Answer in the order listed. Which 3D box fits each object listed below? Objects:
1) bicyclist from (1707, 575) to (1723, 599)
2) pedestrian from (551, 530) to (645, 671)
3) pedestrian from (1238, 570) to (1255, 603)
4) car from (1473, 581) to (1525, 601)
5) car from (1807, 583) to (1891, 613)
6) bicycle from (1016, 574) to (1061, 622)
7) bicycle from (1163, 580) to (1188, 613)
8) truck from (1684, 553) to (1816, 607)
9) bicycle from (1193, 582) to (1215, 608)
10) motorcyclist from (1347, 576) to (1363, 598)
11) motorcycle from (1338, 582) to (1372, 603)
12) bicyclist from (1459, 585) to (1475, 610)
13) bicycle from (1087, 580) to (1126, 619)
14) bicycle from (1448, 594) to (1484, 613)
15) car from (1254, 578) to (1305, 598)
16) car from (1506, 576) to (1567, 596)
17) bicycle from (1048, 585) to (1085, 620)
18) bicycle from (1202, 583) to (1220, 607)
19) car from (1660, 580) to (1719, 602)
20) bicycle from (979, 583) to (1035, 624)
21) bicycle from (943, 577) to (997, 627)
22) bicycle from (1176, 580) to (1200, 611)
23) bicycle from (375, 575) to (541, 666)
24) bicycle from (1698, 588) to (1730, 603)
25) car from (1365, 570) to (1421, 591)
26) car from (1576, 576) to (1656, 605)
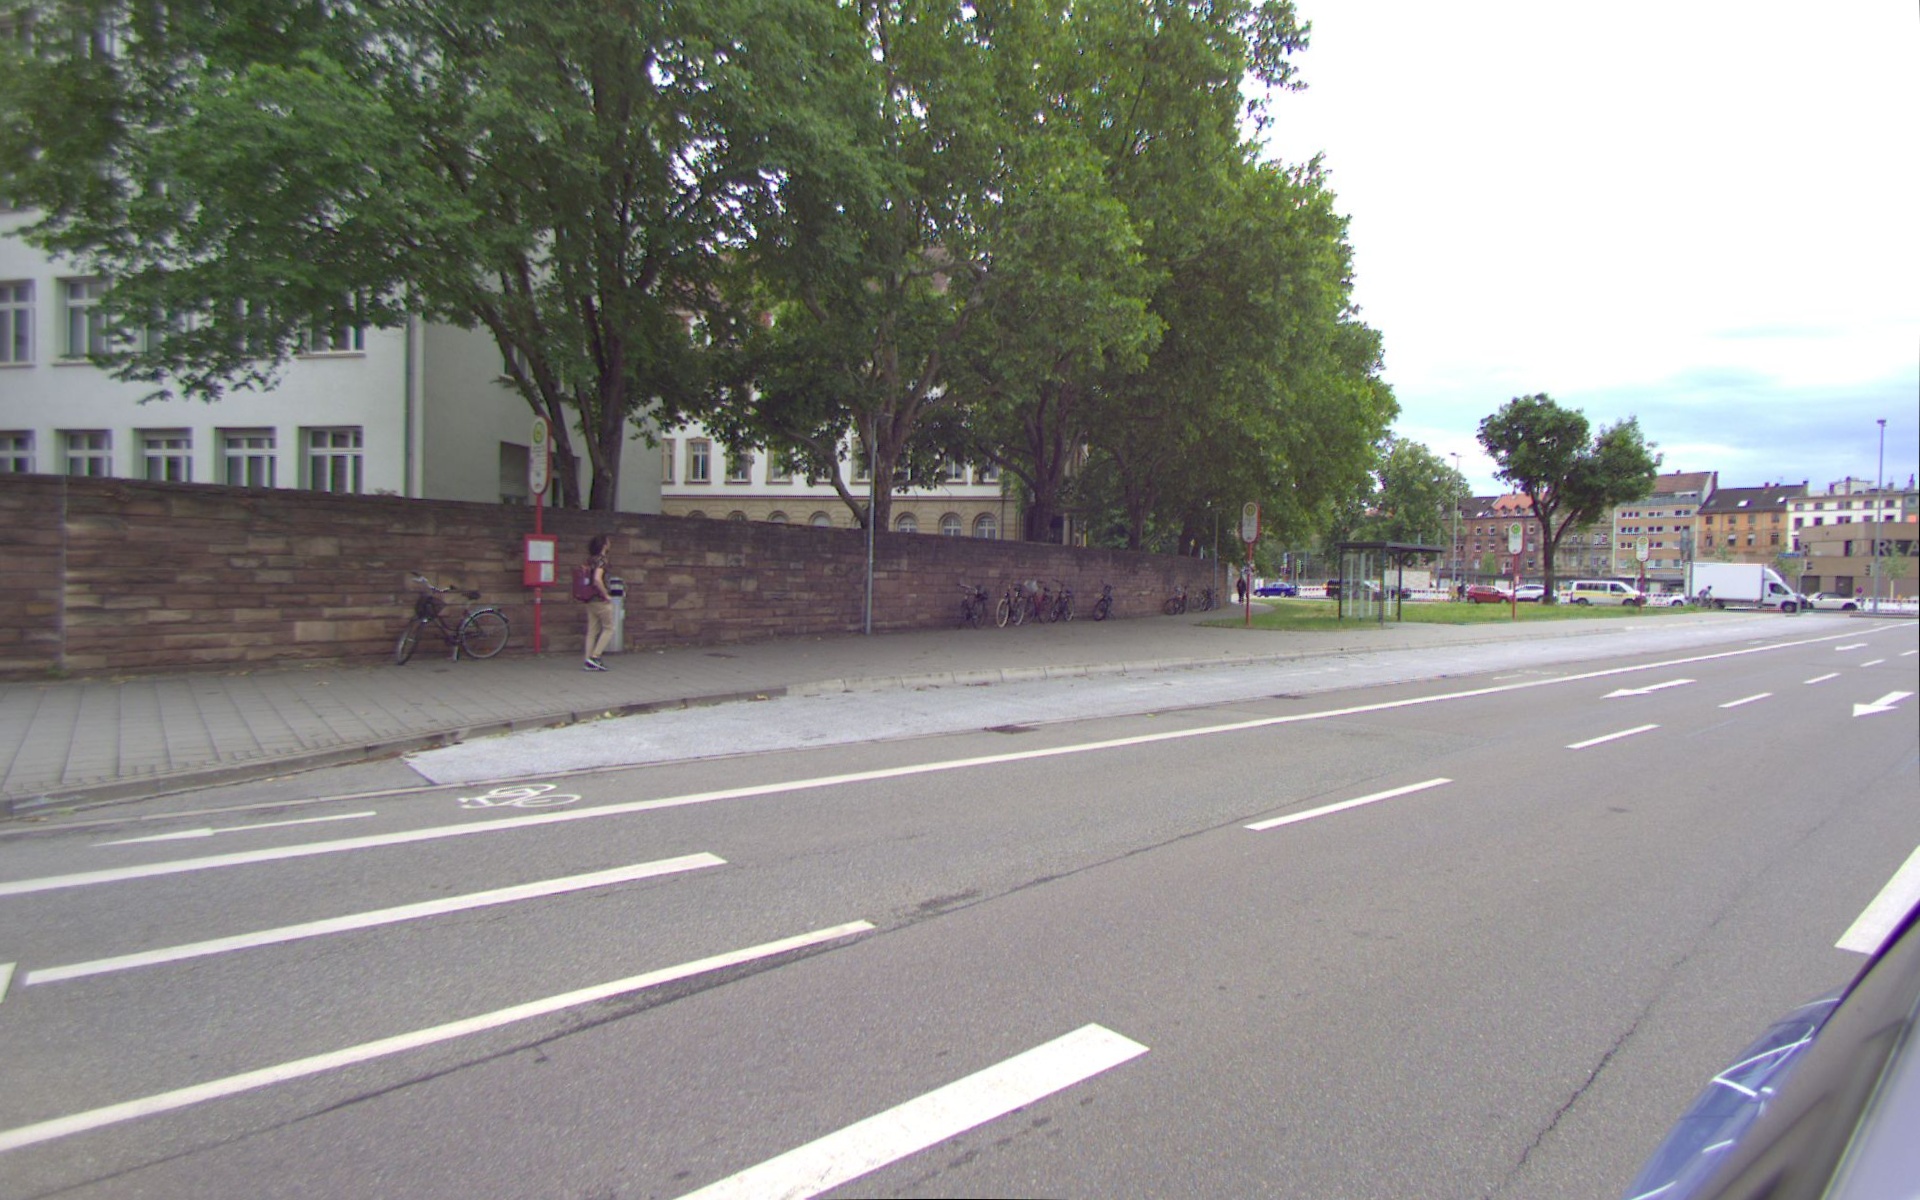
[{"bbox_3d":[51.027,-0.879,68.399,0.737,1.526,0.757,4,2,39],"label":"bicyclist"},{"bbox_3d":[-4.942,-0.005,13.831,1.014,1.844,0.632,1,2,-41],"label":"pedestrian"},{"bbox_3d":[15.936,-0.756,56.397,0.745,1.756,0.821,3,2,10],"label":"pedestrian"},{"bbox_3d":[42.994,-0.708,80.796,3.422,1.399,1.266,2,-6,44],"label":"car"},{"bbox_3d":[61.841,-0.159,70.487,3.864,1.785,1.827,3,2,21],"label":"car"},{"bbox_3d":[2.131,-0.071,27.303,0.497,1.236,1.609,3,2,31],"label":"bicycle"},{"bbox_3d":[8.134,-0.148,38.151,0.589,1.150,1.700,3,2,23],"label":"bicycle"},{"bbox_3d":[53.774,-1.396,69.020,6.835,3.453,2.520,1,3,45],"label":"truck"},{"bbox_3d":[10.330,-0.227,42.776,0.589,1.072,1.700,3,2,23],"label":"bicycle"},{"bbox_3d":[33.654,-1.093,86.222,0.913,1.851,0.917,4,2,37],"label":"motorcyclist"},{"bbox_3d":[33.645,-0.633,86.248,2.501,1.621,0.917,4,3,37],"label":"motorcycle"},{"bbox_3d":[39.962,-0.219,79.783,0.893,1.883,0.753,4,3,43],"label":"bicyclist"},{"bbox_3d":[4.451,-0.040,30.623,0.593,1.118,1.638,3,2,29],"label":"bicycle"},{"bbox_3d":[39.884,0.291,79.848,2.384,1.340,0.753,4,3,44],"label":"bicycle"},{"bbox_3d":[31.536,-1.183,99.999,4.420,1.767,1.736,5,3,44],"label":"car"},{"bbox_3d":[47.328,-1.158,83.129,4.021,1.493,1.792,5,3,43],"label":"car"},{"bbox_3d":[3.043,0.047,28.821,0.414,0.954,1.508,3,2,31],"label":"bicycle"},{"bbox_3d":[11.017,-0.230,44.346,0.544,1.004,1.626,3,2,20],"label":"bicycle"},{"bbox_3d":[54.520,-0.696,75.626,3.418,1.407,1.497,4,3,41],"label":"car"},{"bbox_3d":[1.210,0.070,25.748,0.650,0.963,1.751,3,2,31],"label":"bicycle"},{"bbox_3d":[0.252,0.025,24.111,0.712,1.113,1.781,3,2,20],"label":"bicycle"},{"bbox_3d":[8.939,-0.191,39.676,0.589,1.143,1.700,3,2,23],"label":"bicycle"},{"bbox_3d":[-6.973,0.243,14.143,0.845,1.141,1.900,4,3,34],"label":"bicycle"},{"bbox_3d":[50.969,-0.338,68.434,1.687,0.926,0.757,4,3,39],"label":"bicycle"},{"bbox_3d":[39.113,-1.746,91.478,1.660,1.657,4.282,0,3,-41],"label":"car"},{"bbox_3d":[48.386,-0.725,74.725,1.889,1.942,4.704,-4,4,-44],"label":"car"}]
